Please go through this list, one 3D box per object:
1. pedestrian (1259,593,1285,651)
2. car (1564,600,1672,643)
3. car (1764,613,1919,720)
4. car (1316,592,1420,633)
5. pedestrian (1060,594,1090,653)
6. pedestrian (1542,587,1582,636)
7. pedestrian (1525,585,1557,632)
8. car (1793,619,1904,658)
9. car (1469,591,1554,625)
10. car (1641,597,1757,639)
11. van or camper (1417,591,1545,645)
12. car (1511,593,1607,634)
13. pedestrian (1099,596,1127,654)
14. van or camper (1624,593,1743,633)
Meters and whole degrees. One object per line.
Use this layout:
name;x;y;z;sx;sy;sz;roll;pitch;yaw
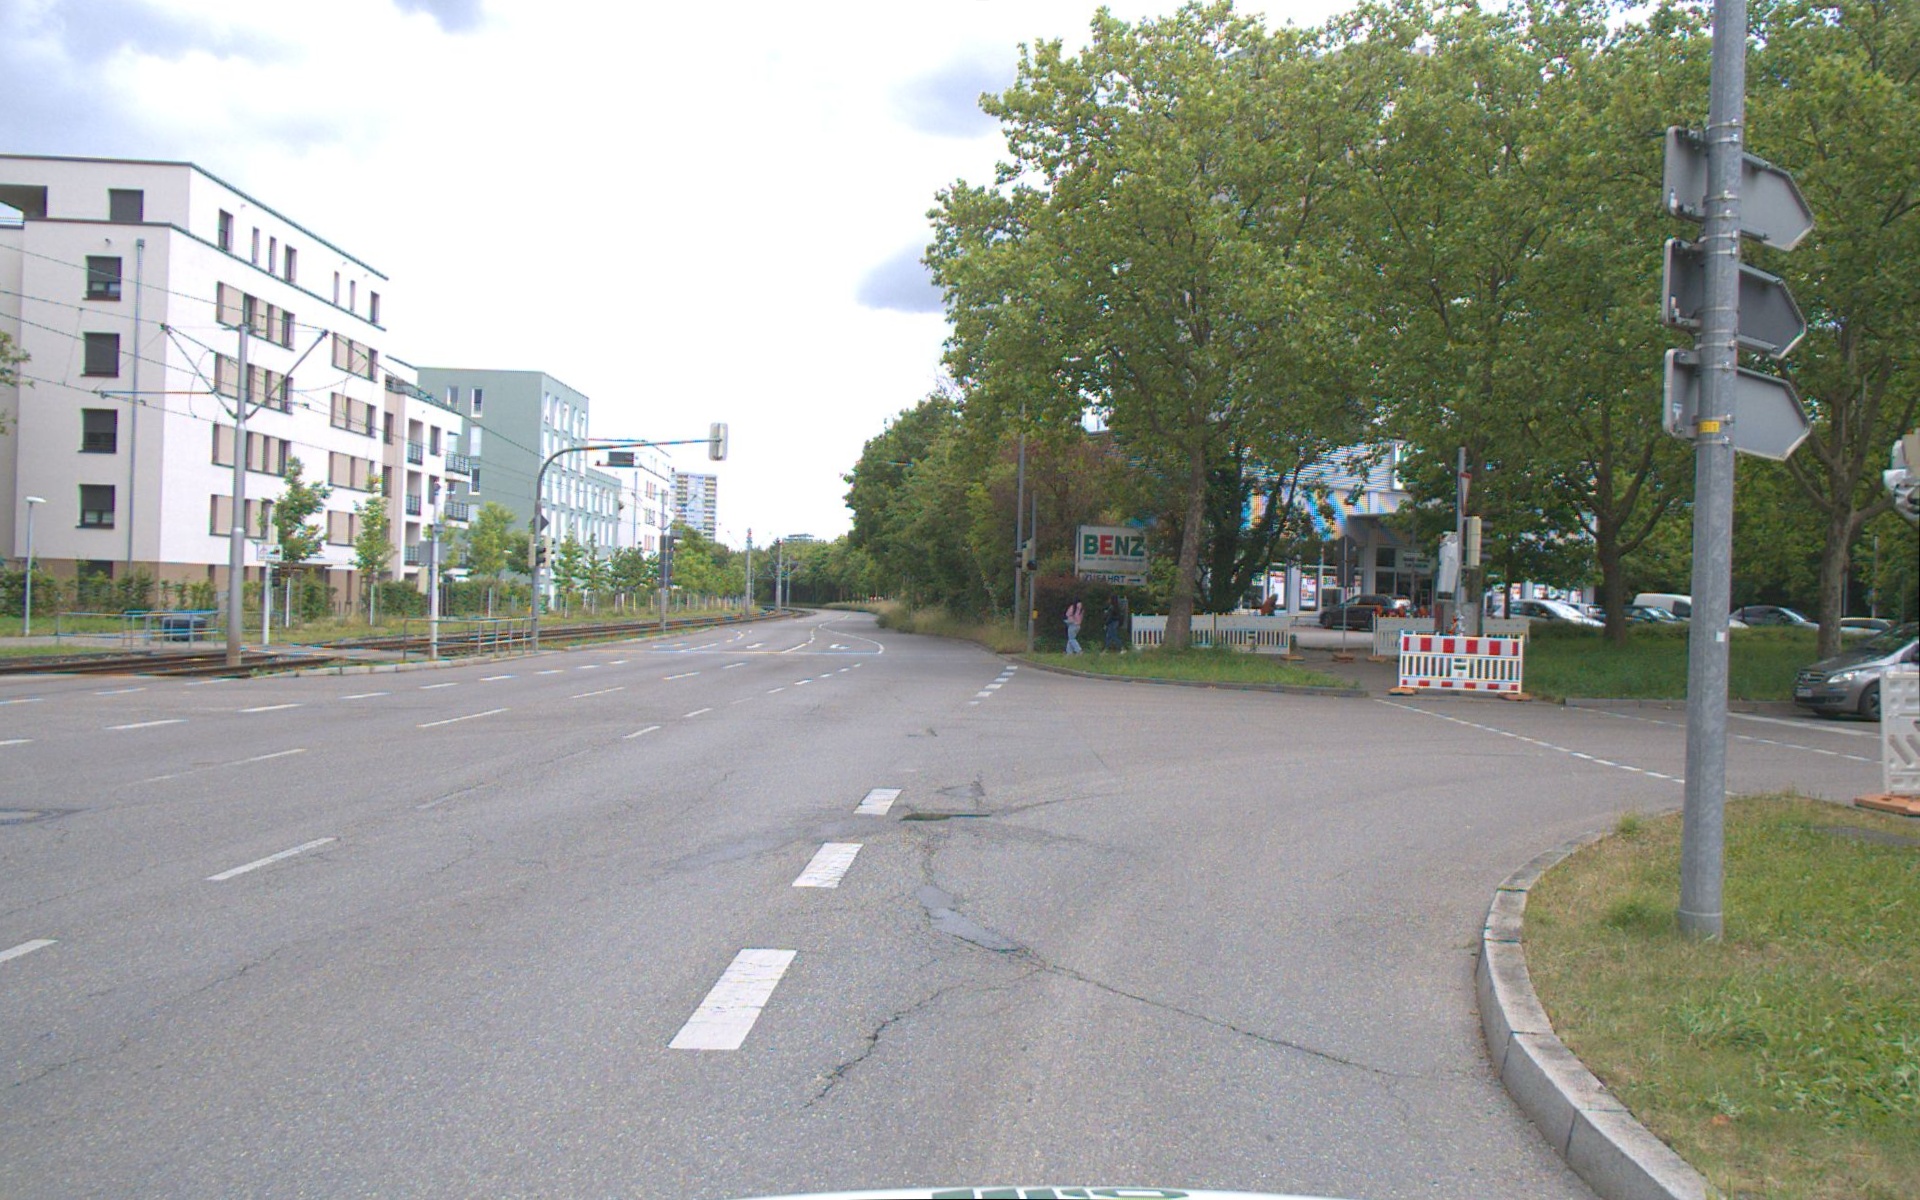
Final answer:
pedestrian;8.557;0.614;45.377;0.639;1.566;0.773;1;-1;8
car;22.896;0.746;57.655;1.463;1.429;3.377;2;-1;-28
car;15.379;1.059;26.313;4.306;1.614;1.773;1;-1;2
car;16.069;0.493;65.332;1.706;1.526;4.234;2;-1;-25
pedestrian;3.044;0.624;43.597;0.682;1.515;0.688;1;-1;11
pedestrian;23.949;0.449;65.812;1.056;1.904;1.053;2;-1;-20
pedestrian;20.238;0.297;57.598;0.778;1.614;0.798;1;-1;-7
car;36.248;1.545;67.565;1.706;1.526;3.715;2;-1;-25
car;23.629;0.344;70.948;1.464;1.429;3.375;2;-1;-29
car;27.447;0.678;61.526;1.464;1.491;3.854;2;-1;-29
van or camper;17.213;0.556;54.796;1.818;1.713;3.966;1;0;-26
car;26.257;0.560;72.570;1.649;1.663;3.785;2;0;-29
pedestrian;4.054;0.657;43.808;0.682;1.515;0.720;1;-1;5
van or camper;25.909;0.469;59.337;1.498;1.380;3.734;2;-1;-32
